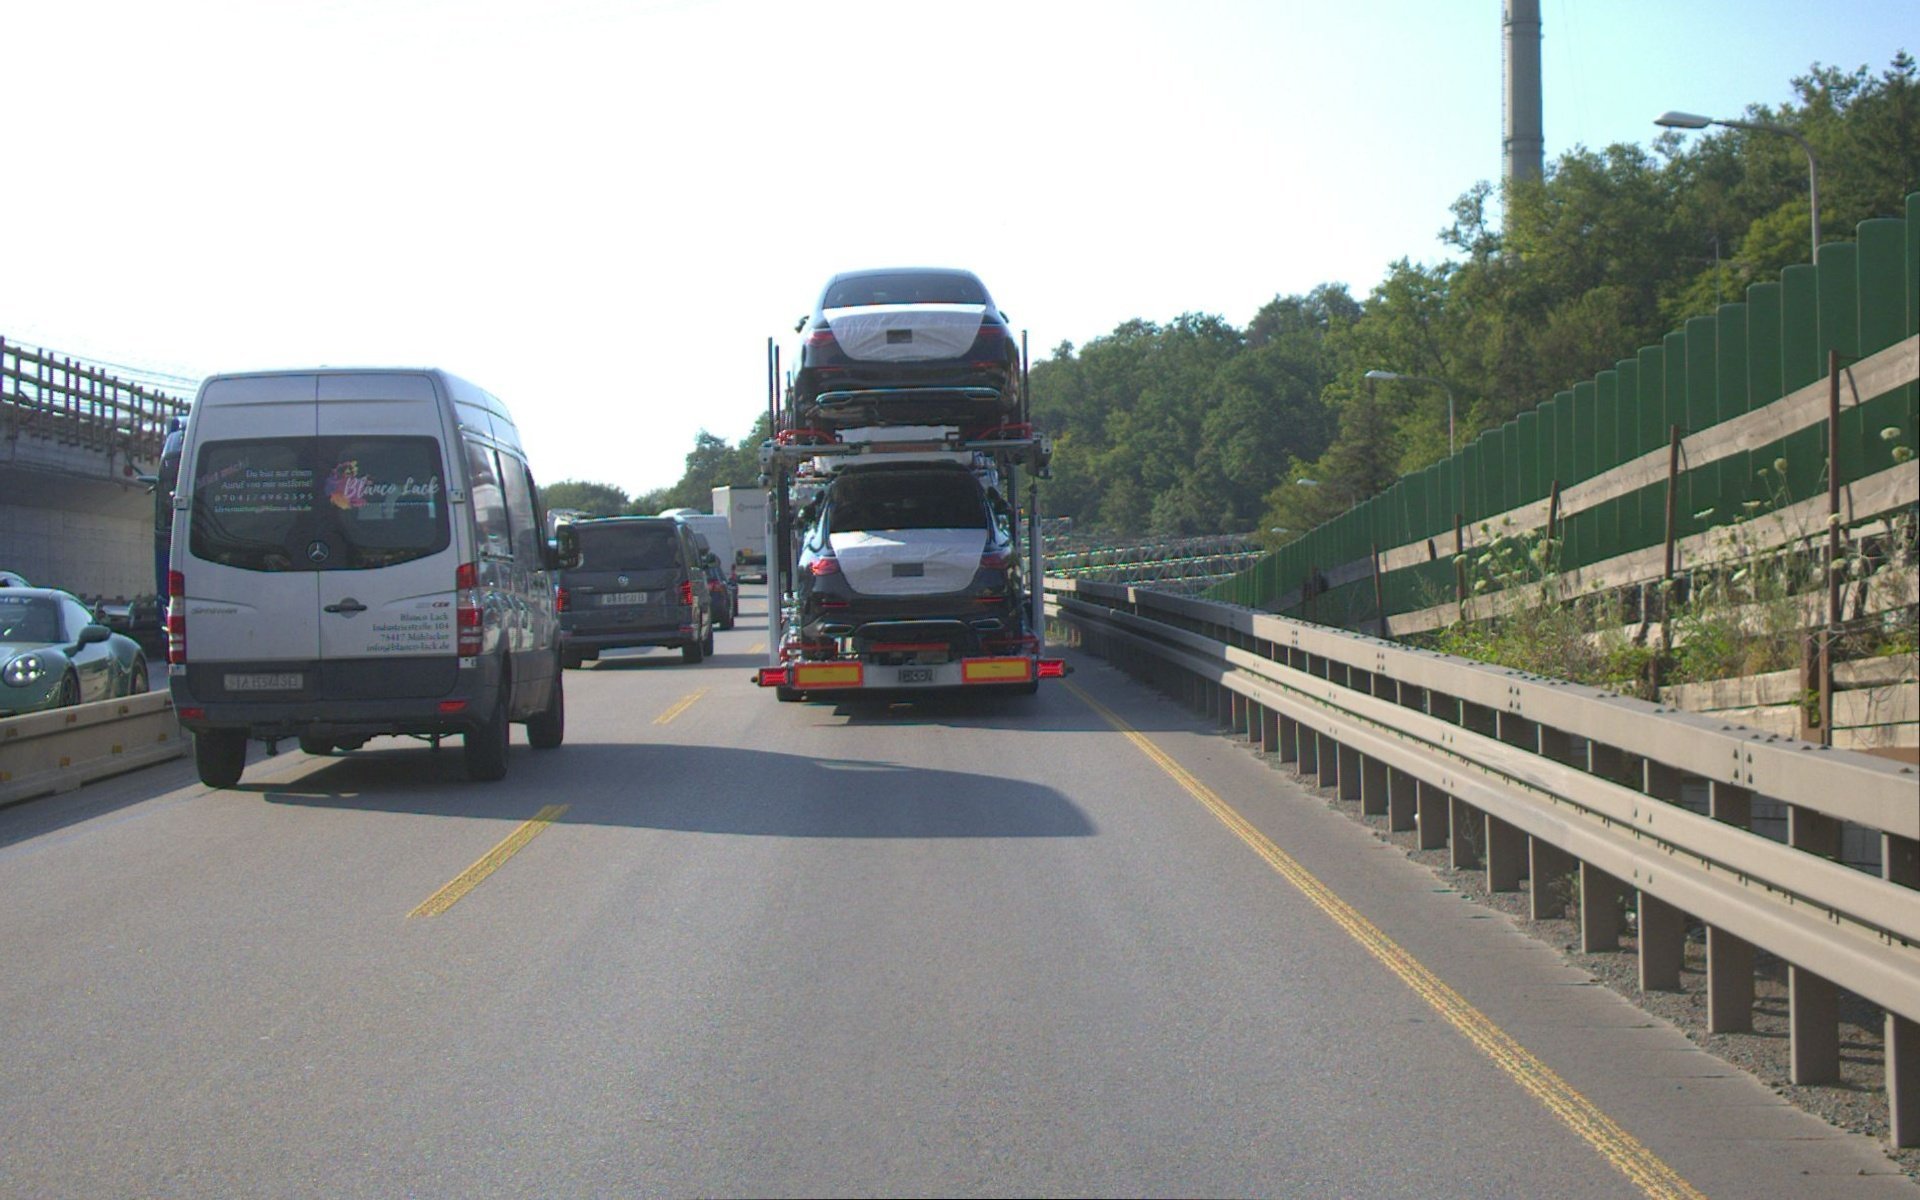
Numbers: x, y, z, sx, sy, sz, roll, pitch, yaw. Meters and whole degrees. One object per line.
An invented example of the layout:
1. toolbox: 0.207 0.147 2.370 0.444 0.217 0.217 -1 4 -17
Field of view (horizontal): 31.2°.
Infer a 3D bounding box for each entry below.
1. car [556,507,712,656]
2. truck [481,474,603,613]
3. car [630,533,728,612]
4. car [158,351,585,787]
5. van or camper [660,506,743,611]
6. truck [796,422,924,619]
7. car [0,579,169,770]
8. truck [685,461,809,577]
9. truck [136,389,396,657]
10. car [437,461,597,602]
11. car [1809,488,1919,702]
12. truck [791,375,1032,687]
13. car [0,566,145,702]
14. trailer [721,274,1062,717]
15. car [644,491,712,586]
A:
1. car: -4.390 -0.215 46.817 1.808 1.897 4.000 1 -1 -2
2. truck: -13.524 -1.783 112.309 2.982 4.139 15.857 1 0 -4
3. car: -5.671 -0.572 69.770 1.725 1.517 3.973 1 1 -1
4. car: -3.876 -0.219 23.642 1.993 2.639 5.530 0 1 0
5. van or camper: -6.651 -1.045 88.921 1.968 2.583 5.042 2 0 -3
6. truck: -2.520 -1.900 84.281 2.907 4.591 7.287 0 0 -3
7. car: -7.368 0.510 26.196 1.781 1.320 4.240 0 1 -1
8. truck: -9.066 -3.327 145.075 4.064 4.663 10.594 0 0 -10
9. truck: -11.605 -1.261 58.398 2.624 4.098 9.628 -2 1 -2
10. car: -8.215 -1.236 64.117 2.471 2.525 4.000 1 0 -1
11. car: 9.227 -0.019 31.324 1.807 1.864 4.440 0 -1 -1
12. truck: -0.549 -0.782 43.049 2.682 3.523 7.193 1 0 0
13. car: -10.758 0.366 38.965 1.972 1.416 4.900 -2 1 -2
14. trailer: -0.542 -0.825 35.476 2.682 3.523 15.288 1 0 0
15. car: -15.527 -3.317 188.777 3.444 5.018 9.655 1 0 -6
